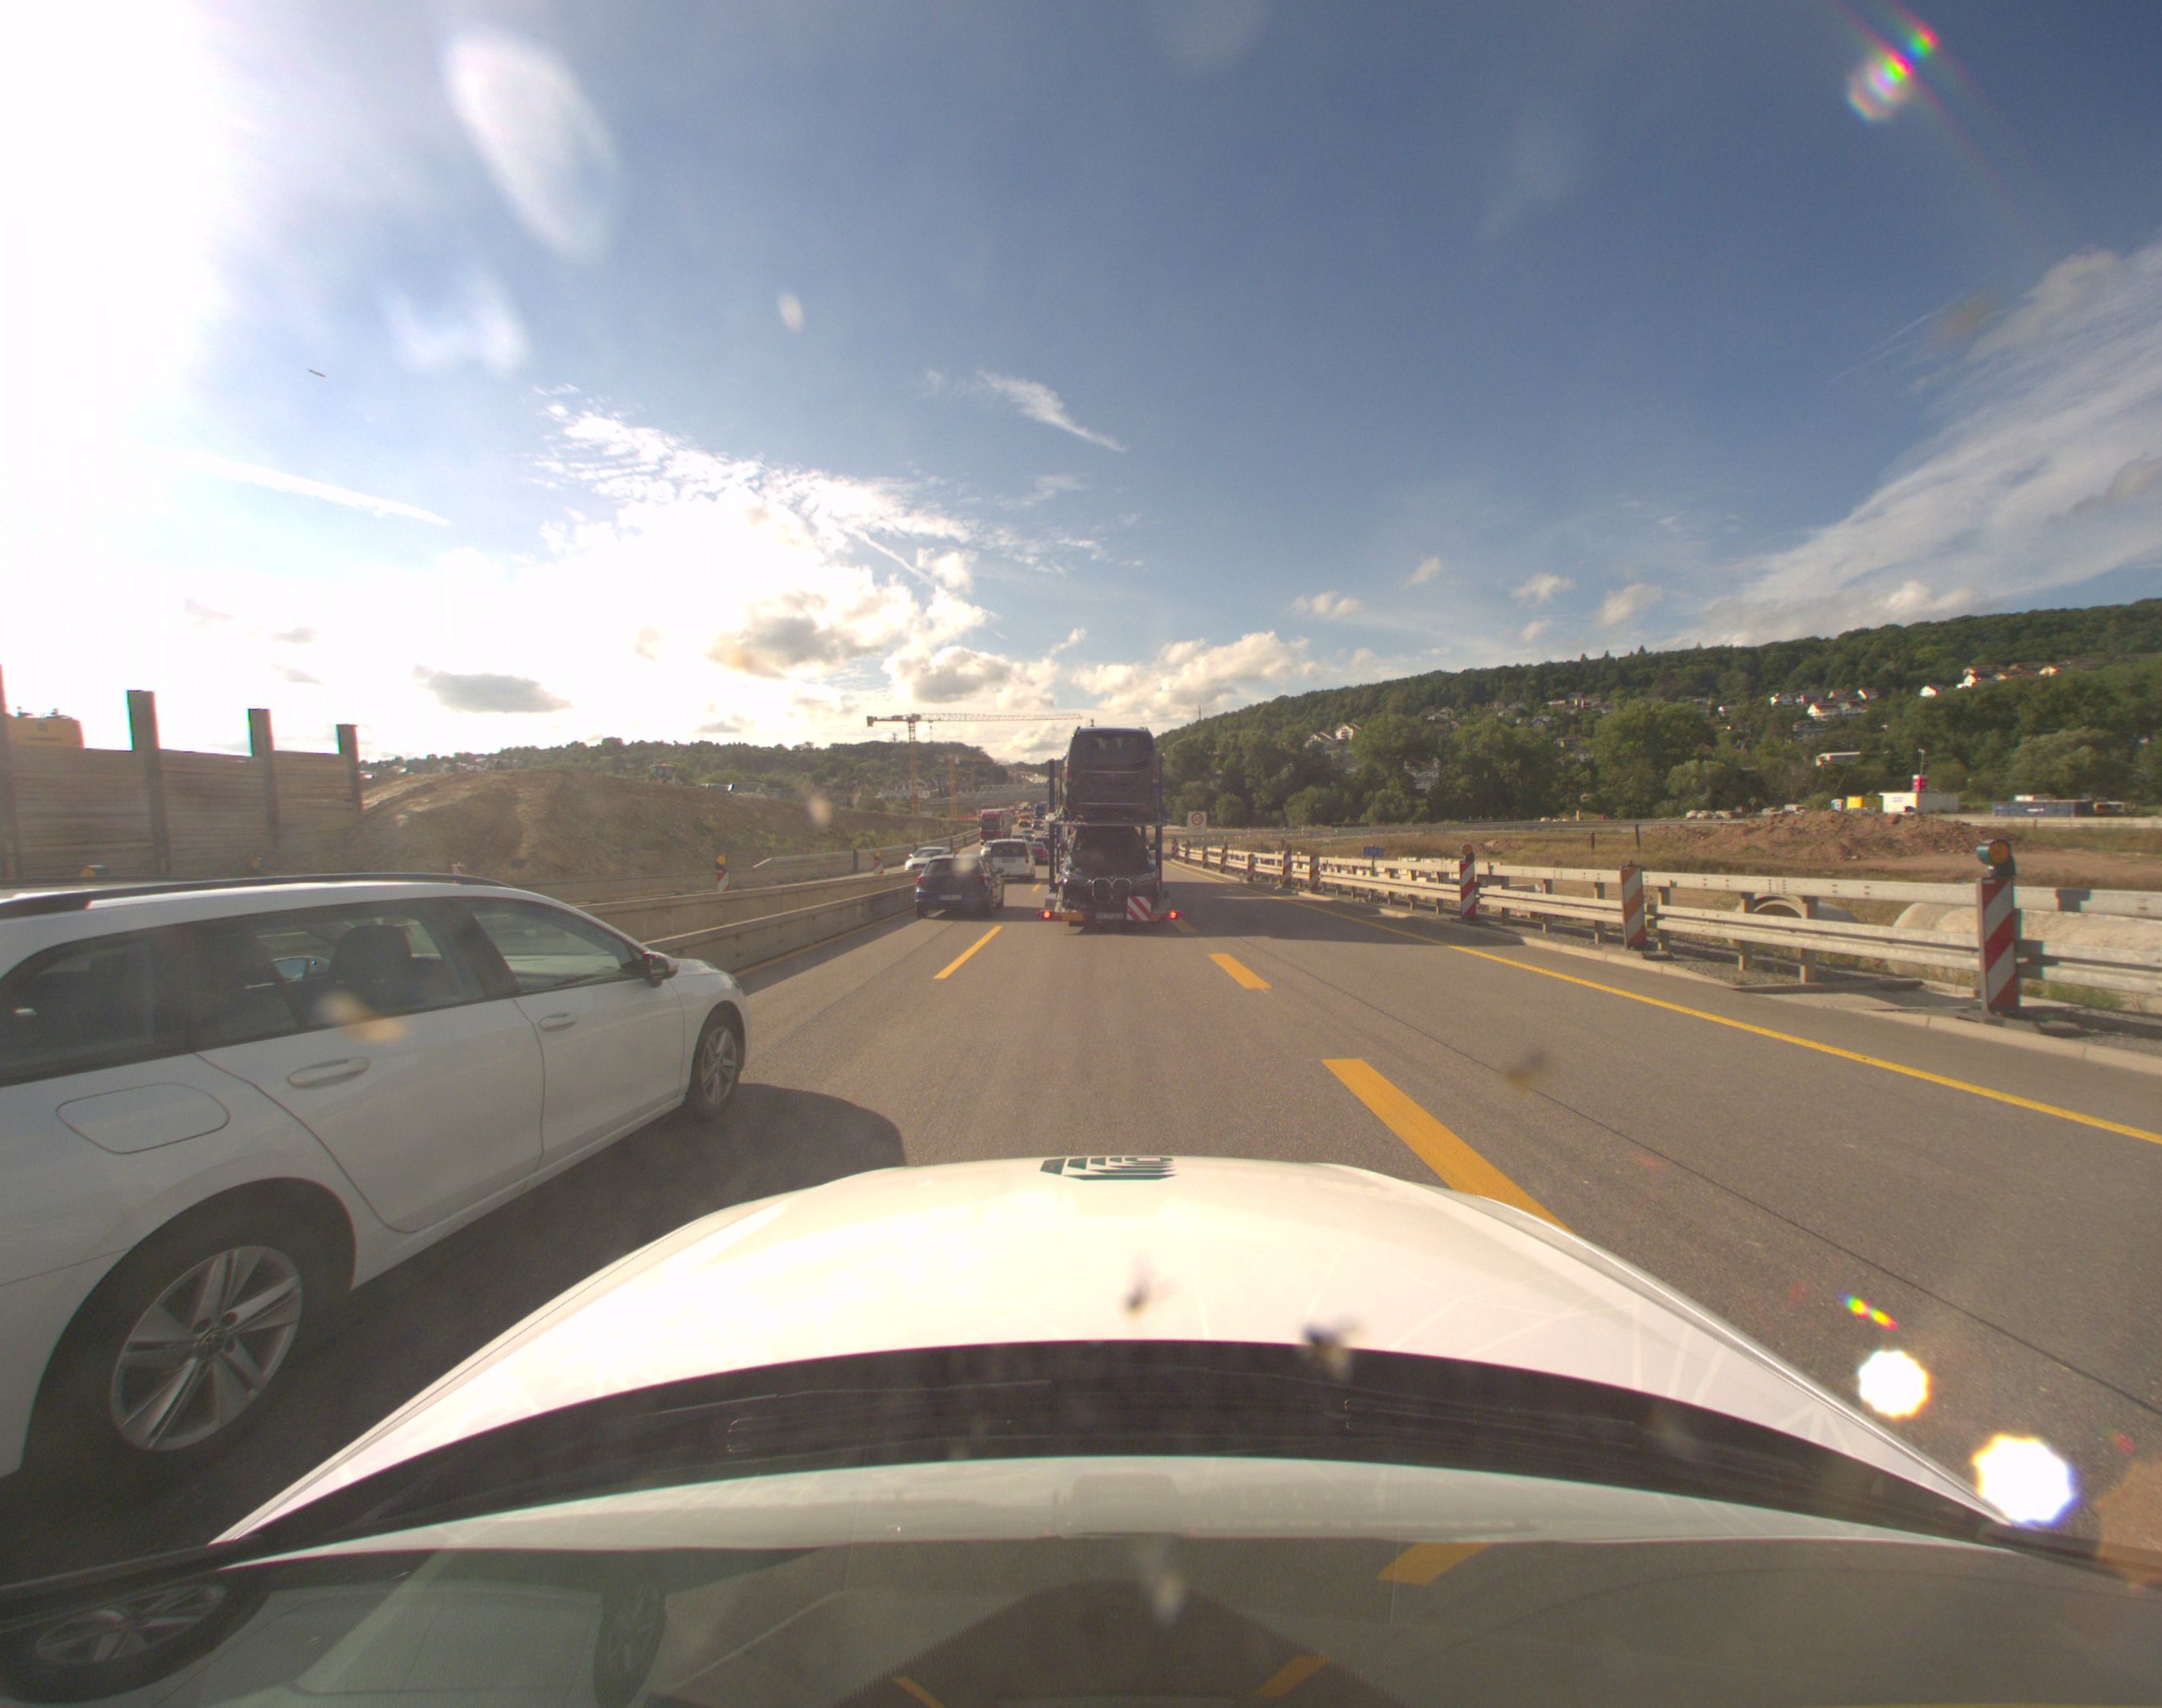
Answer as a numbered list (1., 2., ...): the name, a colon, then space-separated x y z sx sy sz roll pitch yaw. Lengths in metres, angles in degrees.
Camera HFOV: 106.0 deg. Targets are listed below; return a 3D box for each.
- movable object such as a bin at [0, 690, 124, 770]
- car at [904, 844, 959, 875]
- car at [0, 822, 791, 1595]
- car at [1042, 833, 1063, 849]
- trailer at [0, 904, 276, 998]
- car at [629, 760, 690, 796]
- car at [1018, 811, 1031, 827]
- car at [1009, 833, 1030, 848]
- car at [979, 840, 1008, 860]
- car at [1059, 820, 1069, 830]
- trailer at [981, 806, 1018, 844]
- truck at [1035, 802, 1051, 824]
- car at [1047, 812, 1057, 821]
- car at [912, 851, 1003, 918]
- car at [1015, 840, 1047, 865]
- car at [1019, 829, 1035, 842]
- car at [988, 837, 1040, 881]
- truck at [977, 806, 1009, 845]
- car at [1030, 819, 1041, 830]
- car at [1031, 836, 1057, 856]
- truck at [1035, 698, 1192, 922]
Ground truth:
1. movable object such as a bin: -54.783 -6.298 42.148 5.708 3.270 4.525 0 -1 12
2. car: -7.335 0.254 40.417 1.847 1.440 4.558 0 0 0
3. car: -2.939 0.746 3.301 1.763 1.491 4.517 -2 -1 1
4. car: -3.047 -1.393 86.637 1.986 1.665 4.002 0 1 1
5. trailer: -14.258 1.196 7.419 2.337 0.940 10.357 0 -1 10
6. car: -33.740 -6.031 65.362 1.987 2.140 5.320 -5 -1 0
7. car: -10.450 -6.474 150.670 1.987 2.879 6.066 0 2 1
8. car: -6.500 -1.415 86.431 1.815 1.440 4.614 0 0 1
9. car: -6.672 -0.312 62.508 1.748 1.440 3.804 0 0 0
10. car: -3.196 -5.351 150.721 1.840 1.648 4.501 0 0 -2
11. trailer: -10.135 -3.539 102.889 2.966 4.422 13.821 1 1 1
12. truck: -9.610 -10.452 207.461 2.810 4.788 13.066 0 -1 4
13. car: -6.521 -8.546 185.072 1.986 1.684 4.000 0 -1 1
14. car: -2.900 0.657 19.869 1.717 1.422 3.997 0 1 -2
15. car: -3.225 -0.074 53.607 1.988 1.556 4.397 0 -1 -2
16. car: -6.880 -2.364 104.533 1.839 1.648 4.502 0 0 -2
17. car: -2.824 0.220 35.019 1.816 1.792 4.001 0 -1 2
18. truck: -10.284 -3.339 95.687 2.903 4.386 6.289 1 1 1
19. car: -7.662 -4.988 138.179 1.840 1.648 4.232 0 0 -3
20. car: -3.108 -0.652 68.969 1.987 1.552 4.000 0 -1 1
21. truck: 0.560 -0.759 23.923 2.744 3.954 18.884 1 0 0
